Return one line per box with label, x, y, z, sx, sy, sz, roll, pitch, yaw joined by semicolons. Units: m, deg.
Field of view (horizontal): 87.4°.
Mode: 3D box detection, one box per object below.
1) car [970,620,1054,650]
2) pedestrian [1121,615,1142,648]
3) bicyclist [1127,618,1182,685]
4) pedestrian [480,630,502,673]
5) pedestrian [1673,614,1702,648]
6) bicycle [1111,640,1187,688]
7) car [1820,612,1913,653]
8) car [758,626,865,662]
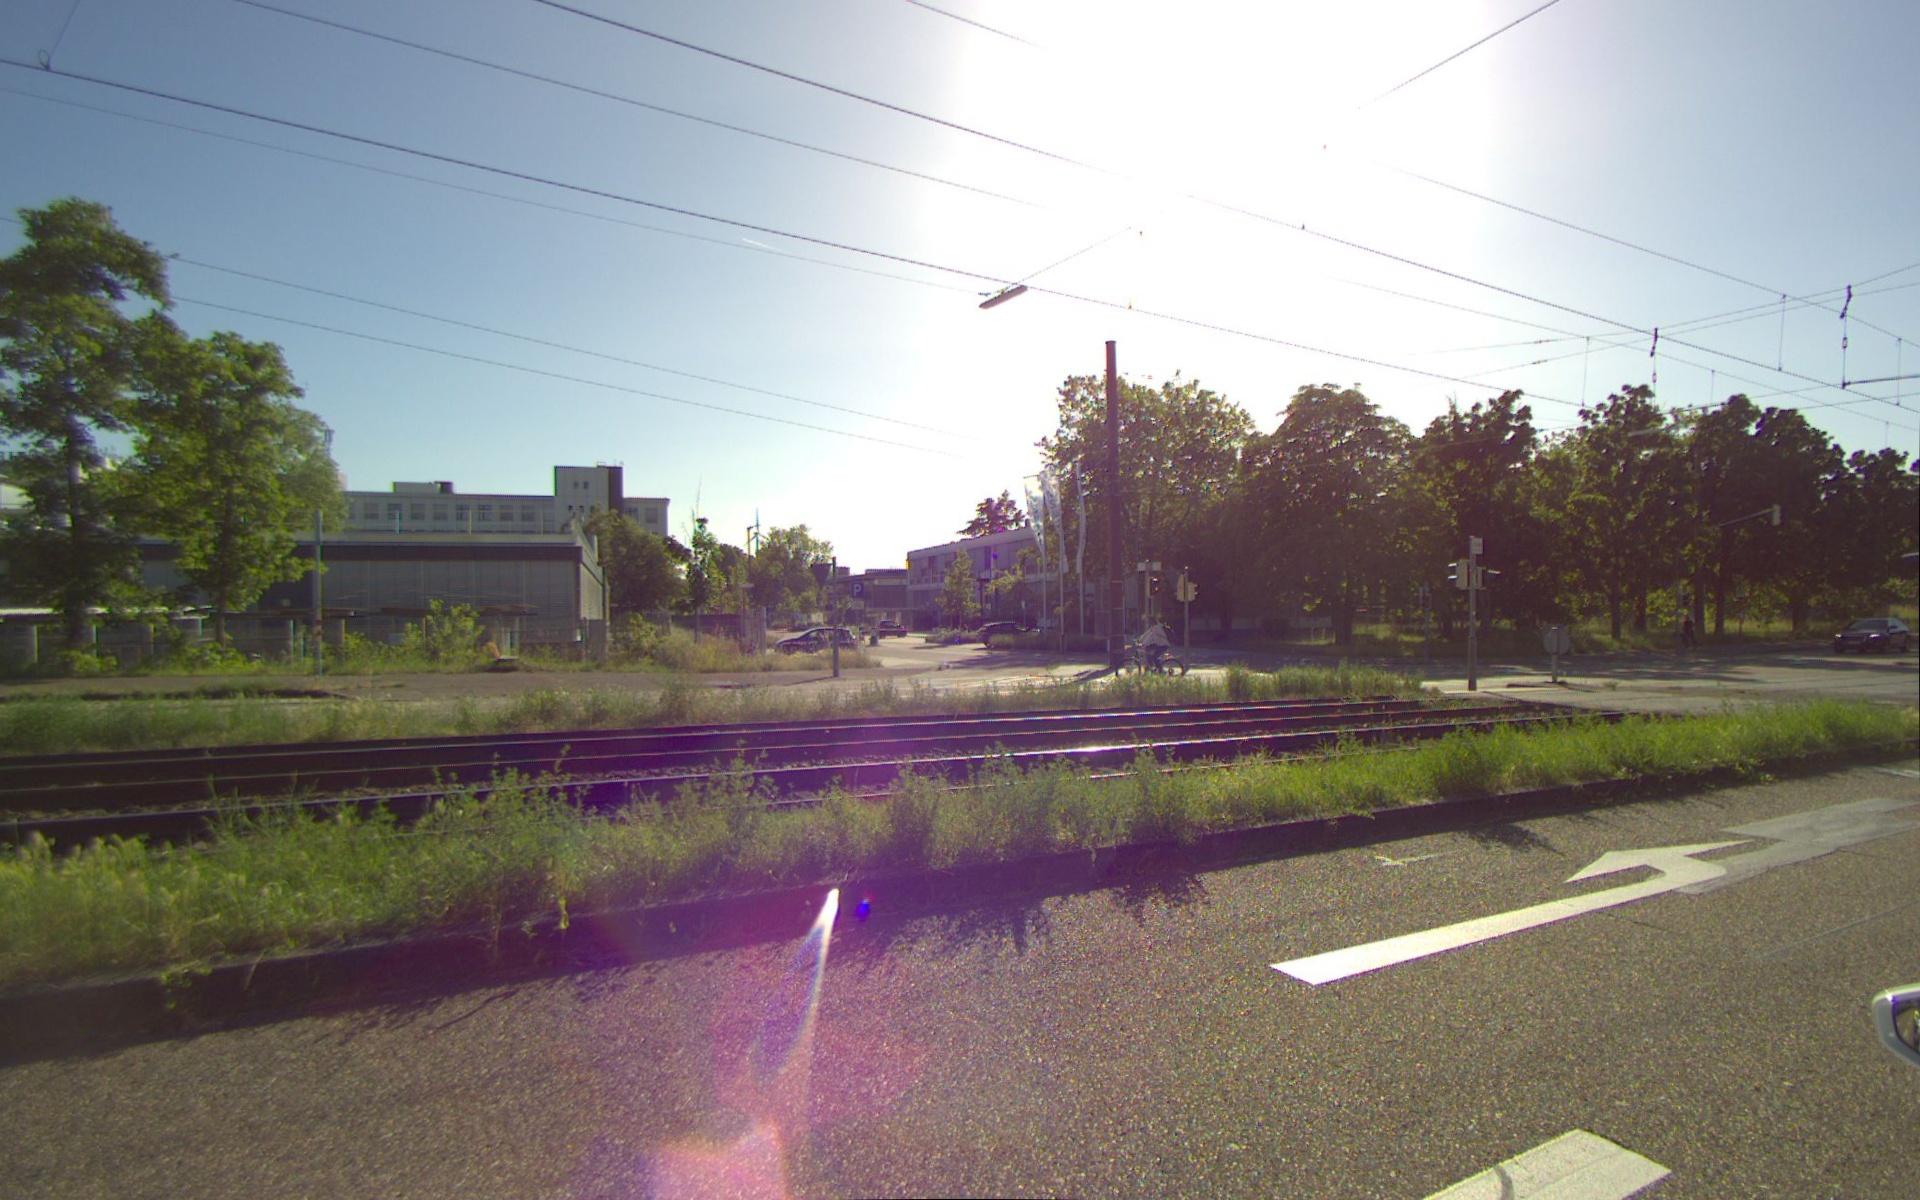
car;3.201;2.145;61.713;4.768;1.751;2.041;1;0;-21
pedestrian;9.599;1.760;56.173;0.807;1.811;0.950;0;0;-16
bicyclist;4.812;1.255;24.907;1.212;1.614;0.805;1;0;0
pedestrian;-14.702;1.613;31.467;0.432;1.318;0.441;0;0;18
pedestrian;37.561;1.592;51.863;0.919;1.757;0.761;0;0;-2
bicycle;4.670;1.585;24.914;1.746;1.117;0.699;1;0;0
car;43.273;1.544;47.927;4.739;1.834;2.082;0;-2;-32
car;-7.679;2.264;51.919;5.210;1.772;2.164;1;0;-19
